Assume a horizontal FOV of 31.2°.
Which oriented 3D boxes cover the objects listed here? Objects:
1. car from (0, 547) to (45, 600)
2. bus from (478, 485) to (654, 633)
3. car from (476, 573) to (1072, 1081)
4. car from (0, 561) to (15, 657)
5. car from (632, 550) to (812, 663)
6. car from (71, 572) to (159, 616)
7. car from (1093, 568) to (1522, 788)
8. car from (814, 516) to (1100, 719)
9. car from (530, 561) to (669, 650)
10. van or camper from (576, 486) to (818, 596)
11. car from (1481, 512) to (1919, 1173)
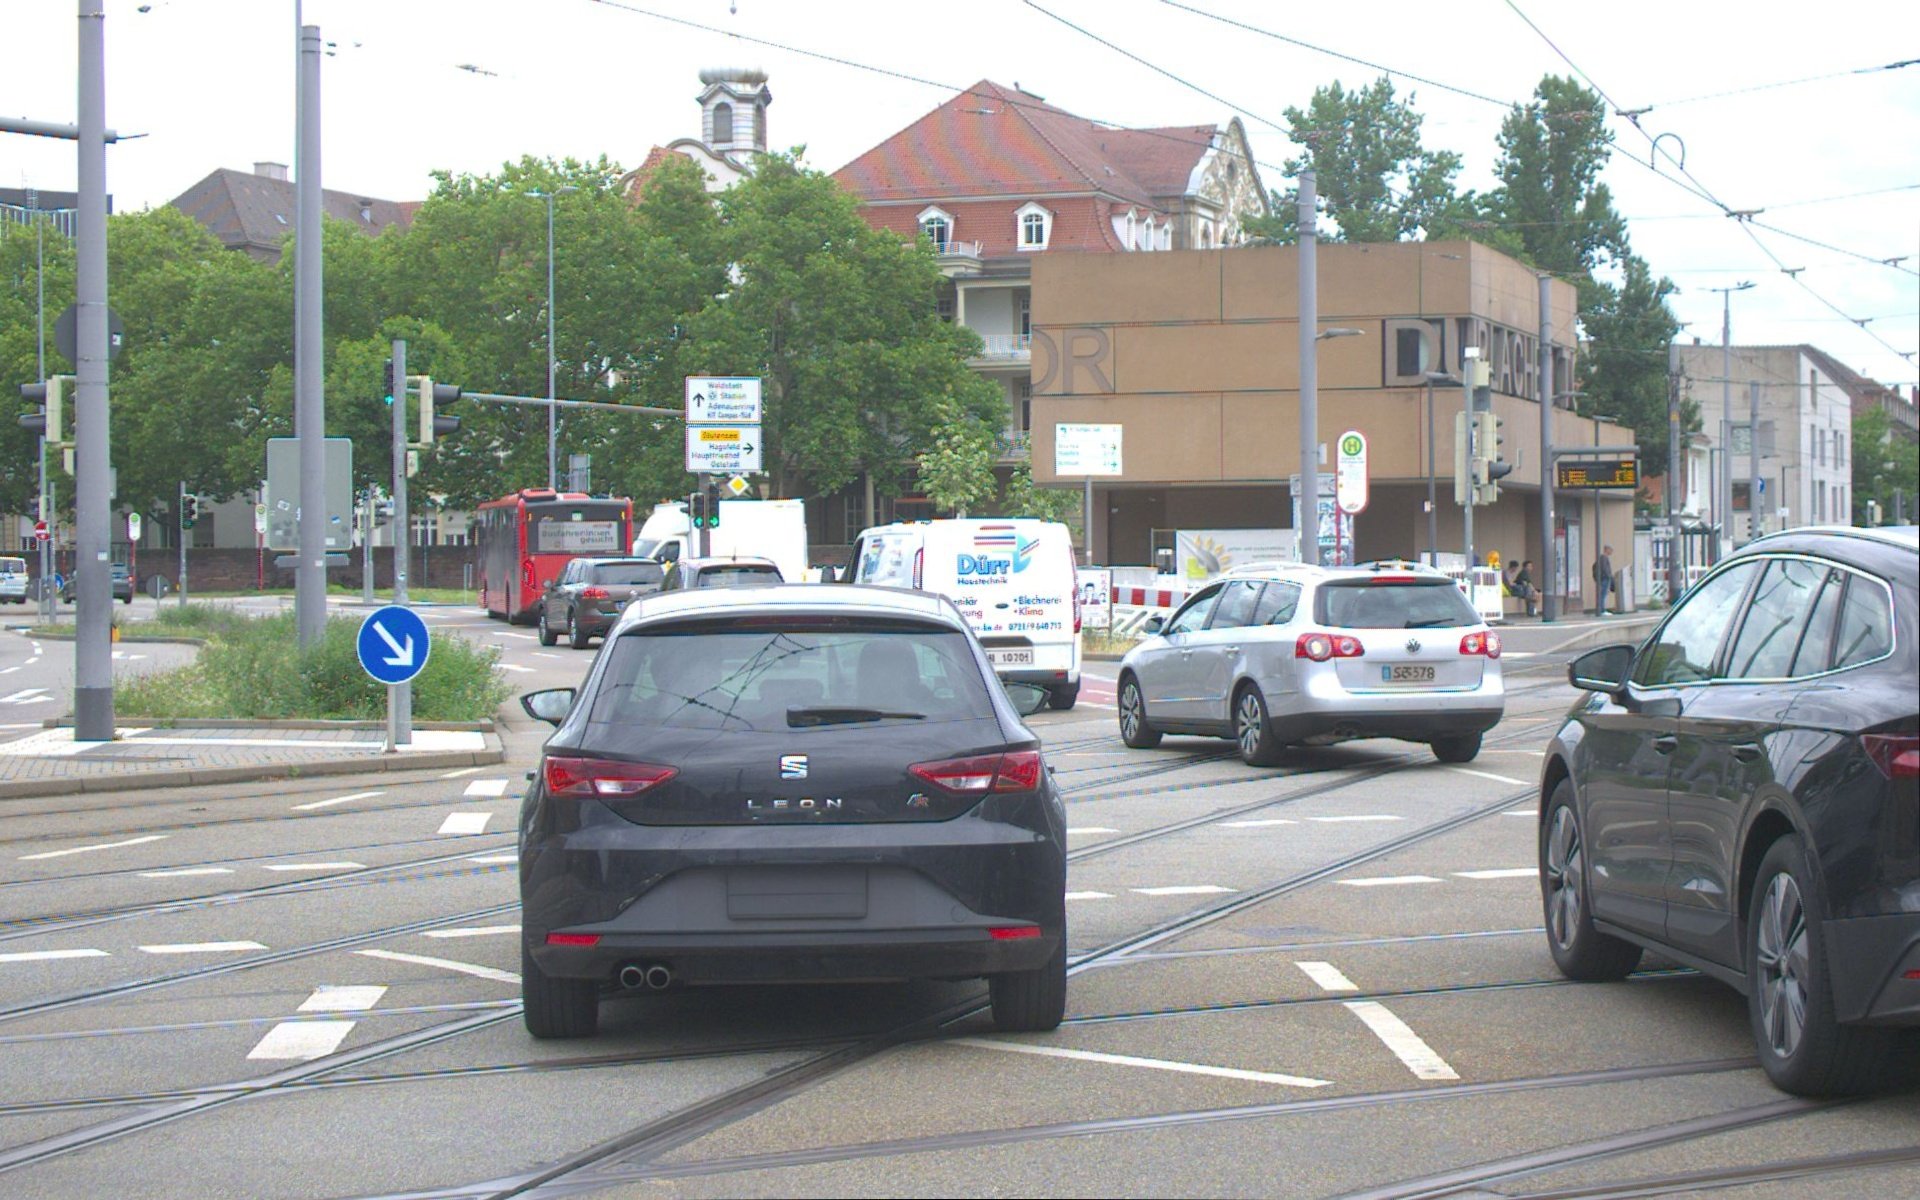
[{"bbox_3d":[-36.465,-1.004,130.664,1.994,2.007,3.999,-1,1,-35],"label":"car"},{"bbox_3d":[-9.580,-0.966,82.335,3.057,3.286,12.383,0,1,-12],"label":"bus"},{"bbox_3d":[-0.672,0.659,12.144,1.745,1.459,4.001,0,1,-4],"label":"car"},{"bbox_3d":[-18.617,0.168,63.587,1.870,1.719,4.714,-2,1,-12],"label":"car"},{"bbox_3d":[-3.603,0.067,51.369,1.857,1.595,4.206,-1,1,-16],"label":"car"},{"bbox_3d":[-29.791,-0.223,121.133,1.993,1.534,4.000,-1,1,-29],"label":"car"},{"bbox_3d":[2.555,0.524,26.511,1.720,1.477,4.630,-2,1,-15],"label":"car"},{"bbox_3d":[-0.124,0.140,36.932,1.993,2.012,5.033,-1,1,-13],"label":"car"},{"bbox_3d":[-6.724,0.067,63.702,1.993,1.560,4.206,-1,1,-14],"label":"car"},{"bbox_3d":[-8.297,-1.877,108.913,7.130,3.321,2.876,-1,0,-35],"label":"van or camper"},{"bbox_3d":[3.073,0.566,10.904,1.903,1.652,4.515,0,1,-3],"label":"car"}]
